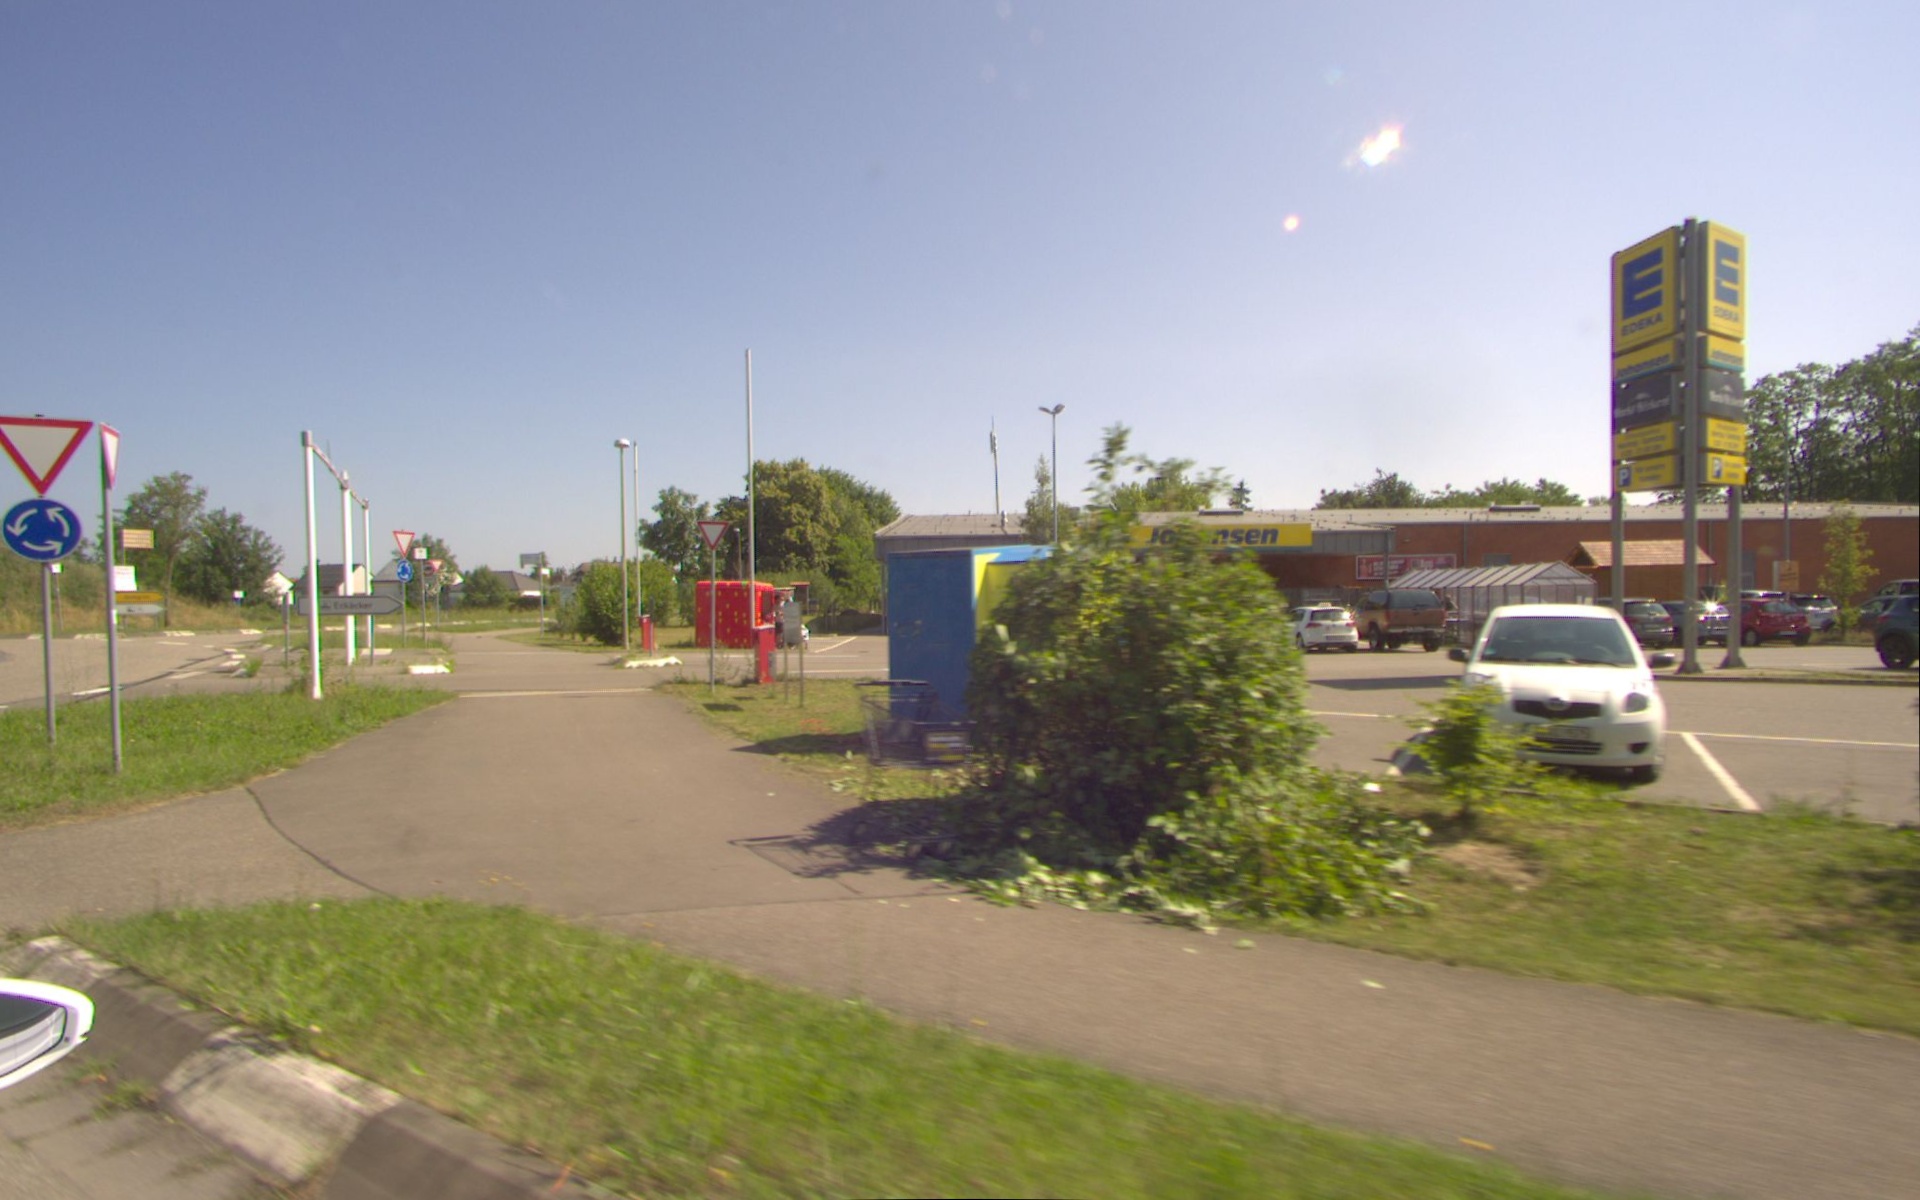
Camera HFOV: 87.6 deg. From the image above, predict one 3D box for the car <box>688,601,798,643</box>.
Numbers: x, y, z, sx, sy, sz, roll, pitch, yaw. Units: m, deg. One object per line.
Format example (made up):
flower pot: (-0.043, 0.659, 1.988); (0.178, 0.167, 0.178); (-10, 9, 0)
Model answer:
car: (-8.074, 0.804, 37.442); (3.698, 1.465, 1.725); (1, 1, 4)

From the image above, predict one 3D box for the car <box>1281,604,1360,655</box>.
car: (11.399, 0.880, 31.836); (1.683, 1.517, 3.491); (0, 0, 8)

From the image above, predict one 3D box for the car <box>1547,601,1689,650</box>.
car: (20.826, 0.776, 31.929); (1.944, 1.439, 4.000); (0, 0, 1)

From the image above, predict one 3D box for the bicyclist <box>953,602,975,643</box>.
bicyclist: (0.165, 0.862, 38.492); (0.597, 1.535, 0.675); (0, 1, 26)

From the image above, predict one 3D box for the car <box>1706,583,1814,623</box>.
car: (38.817, 0.201, 48.699); (1.961, 1.839, 4.002); (0, -2, -2)

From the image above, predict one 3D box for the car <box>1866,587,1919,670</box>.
car: (19.709, 0.560, 18.733); (1.629, 1.609, 3.998); (0, 0, -6)

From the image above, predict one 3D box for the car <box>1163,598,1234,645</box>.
car: (8.764, 0.765, 37.130); (1.875, 1.644, 3.999); (0, 0, 3)

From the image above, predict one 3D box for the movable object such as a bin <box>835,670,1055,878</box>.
movable object such as a bin: (-0.142, 1.104, 6.836); (0.859, 1.135, 1.446); (0, 0, -34)

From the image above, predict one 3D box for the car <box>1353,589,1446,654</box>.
car: (13.965, 0.637, 32.023); (1.842, 1.954, 3.491); (0, 0, 8)

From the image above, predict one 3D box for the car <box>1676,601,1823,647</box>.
car: (25.748, 0.730, 32.849); (1.682, 1.416, 4.000); (0, 0, 1)

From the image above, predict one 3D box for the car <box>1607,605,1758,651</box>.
car: (23.373, 0.866, 32.598); (1.961, 1.394, 4.000); (0, 0, -1)

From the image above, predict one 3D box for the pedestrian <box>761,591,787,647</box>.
pedestrian: (-6.371, 0.641, 34.254); (0.759, 1.896, 0.840); (0, 1, -2)

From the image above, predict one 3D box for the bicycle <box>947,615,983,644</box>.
bicycle: (0.213, 1.115, 38.630); (0.544, 1.056, 2.069); (0, 1, 26)

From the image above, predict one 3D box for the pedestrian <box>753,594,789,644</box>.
pedestrian: (-6.280, 0.611, 33.285); (0.910, 1.640, 0.813); (1, 1, 20)

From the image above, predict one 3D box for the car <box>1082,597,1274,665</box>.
car: (5.356, 0.735, 24.757); (4.347, 1.592, 1.714); (0, 0, -14)

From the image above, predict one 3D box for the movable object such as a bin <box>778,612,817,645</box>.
movable object such as a bin: (-5.364, 0.925, 33.012); (1.022, 1.060, 0.767); (0, 0, 21)

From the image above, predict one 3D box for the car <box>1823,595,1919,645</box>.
car: (30.315, 0.618, 32.014); (1.930, 1.506, 3.999); (0, 0, 0)

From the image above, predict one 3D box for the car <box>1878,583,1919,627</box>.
car: (45.885, 0.214, 47.025); (1.961, 2.040, 3.999); (0, 0, 2)

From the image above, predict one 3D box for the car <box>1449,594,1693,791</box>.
car: (6.038, 0.757, 10.299); (1.785, 1.583, 3.591); (0, 1, 26)

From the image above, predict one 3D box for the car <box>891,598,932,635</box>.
car: (-2.201, 0.749, 45.870); (1.793, 1.657, 1.130); (0, 1, 2)
